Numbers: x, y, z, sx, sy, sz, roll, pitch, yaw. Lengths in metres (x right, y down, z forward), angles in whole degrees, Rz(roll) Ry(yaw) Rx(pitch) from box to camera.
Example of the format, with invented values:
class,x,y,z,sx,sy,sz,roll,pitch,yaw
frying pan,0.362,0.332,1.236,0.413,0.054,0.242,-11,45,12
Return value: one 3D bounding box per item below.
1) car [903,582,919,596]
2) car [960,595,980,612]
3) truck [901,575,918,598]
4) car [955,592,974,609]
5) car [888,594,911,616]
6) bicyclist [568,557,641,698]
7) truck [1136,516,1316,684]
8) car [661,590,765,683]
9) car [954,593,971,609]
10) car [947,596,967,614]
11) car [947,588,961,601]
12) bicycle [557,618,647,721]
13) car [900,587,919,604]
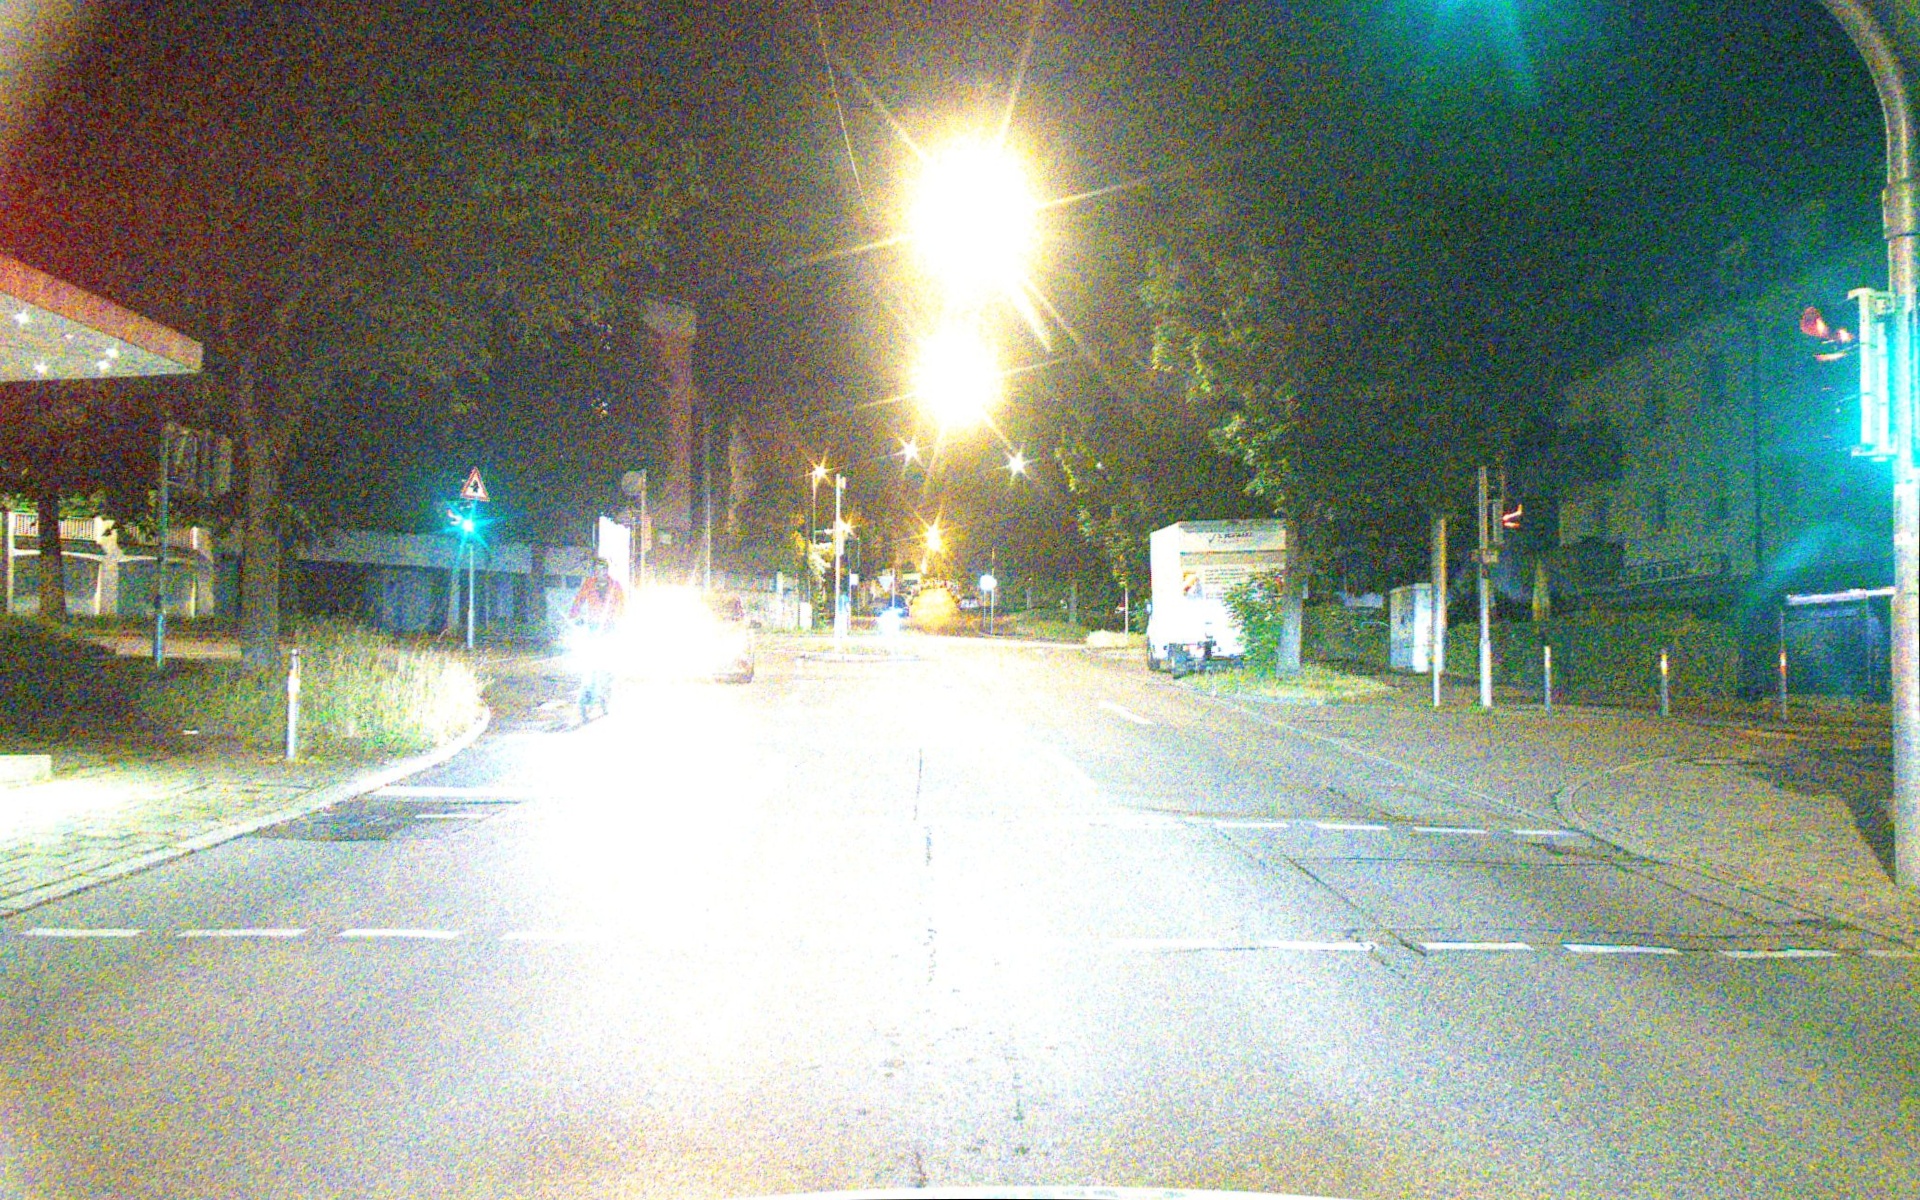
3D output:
class,x,y,z,sx,sy,sz,roll,pitch,yaw
car,-5.550,-1.204,186.866,1.779,1.517,3.998,1,0,-2
car,0.864,0.292,143.352,1.601,1.477,3.484,1,0,-1
truck,-6.454,-1.706,209.490,2.044,2.897,5.828,1,0,-2
car,0.401,0.065,153.081,1.601,1.477,3.484,1,0,-1
car,-4.910,0.368,134.348,1.778,1.713,3.999,1,0,-1
bicyclist,-4.321,0.327,20.141,0.676,1.666,0.896,1,-1,-1
truck,5.414,-0.002,34.666,2.693,3.165,6.257,1,0,0
car,-4.285,0.596,29.054,1.550,1.528,3.393,1,0,-5
car,0.245,0.101,159.263,1.601,1.477,3.484,1,0,-1
car,-0.274,0.412,137.647,1.561,1.502,3.653,1,0,-1
car,-0.671,-0.660,191.464,1.601,1.477,3.484,1,0,-1
bicycle,-4.326,0.814,20.116,0.682,1.169,1.950,1,0,-1
car,-4.893,-0.436,160.482,1.779,1.517,3.998,1,0,-2
